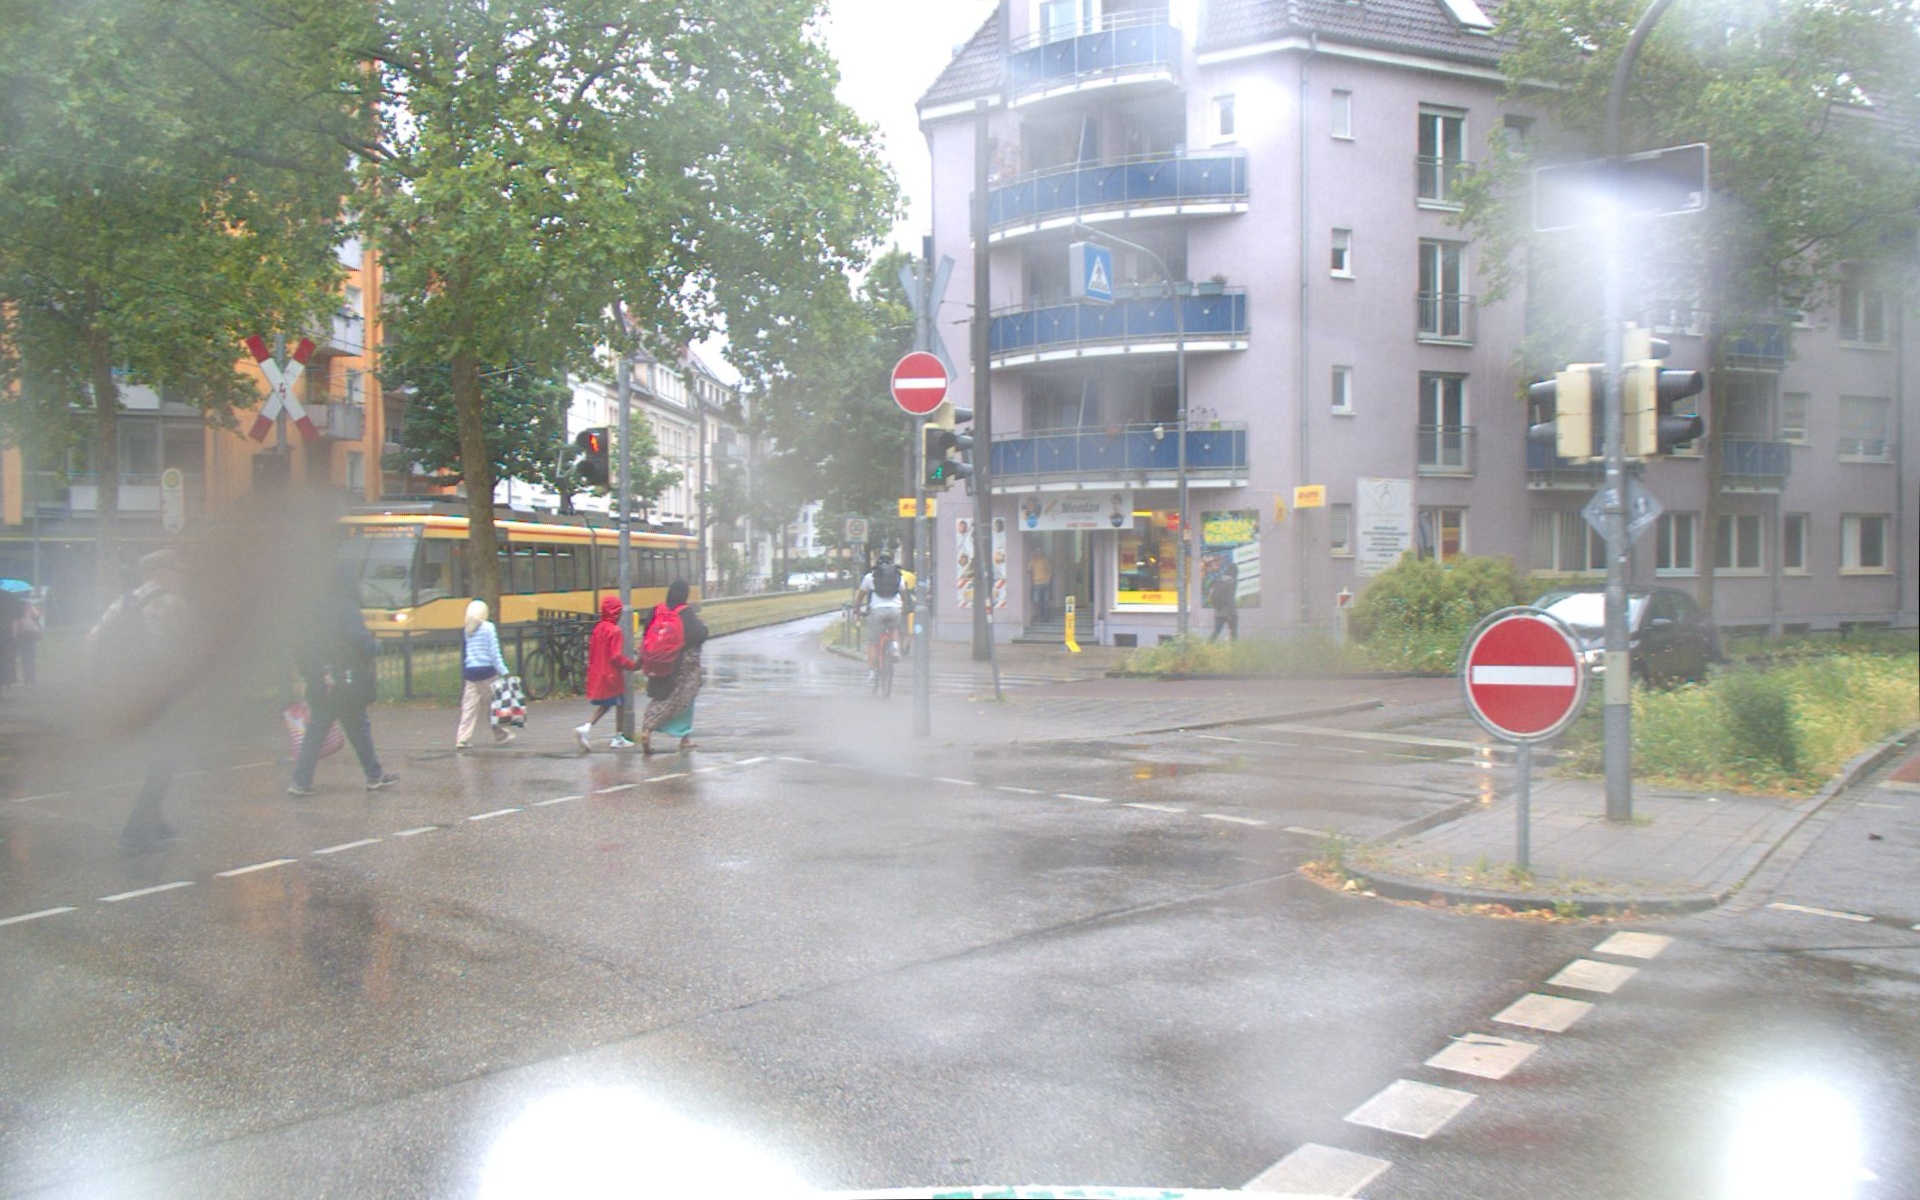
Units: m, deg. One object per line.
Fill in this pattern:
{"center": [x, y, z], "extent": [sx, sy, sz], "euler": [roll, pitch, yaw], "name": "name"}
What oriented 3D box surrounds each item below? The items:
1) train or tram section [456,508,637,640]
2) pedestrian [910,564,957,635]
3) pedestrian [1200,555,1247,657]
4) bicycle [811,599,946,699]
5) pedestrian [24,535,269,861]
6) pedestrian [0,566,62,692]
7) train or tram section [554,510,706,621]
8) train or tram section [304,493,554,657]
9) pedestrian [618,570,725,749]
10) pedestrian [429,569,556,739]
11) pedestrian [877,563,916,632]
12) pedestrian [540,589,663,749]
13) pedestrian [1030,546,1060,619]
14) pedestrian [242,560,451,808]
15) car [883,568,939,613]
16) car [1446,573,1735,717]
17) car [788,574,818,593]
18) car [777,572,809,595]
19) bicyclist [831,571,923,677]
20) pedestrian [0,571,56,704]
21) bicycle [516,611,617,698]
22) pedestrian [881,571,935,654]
{"center": [-11.528, -0.742, 47.016], "extent": [2.582, 3.409, 8.381], "euler": [0, 1, 4], "name": "train or tram section"}
{"center": [-0.689, -0.021, 42.571], "extent": [1.141, 1.819, 0.893], "euler": [0, 1, -7], "name": "pedestrian"}
{"center": [4.817, 0.101, 30.231], "extent": [0.630, 1.835, 0.619], "euler": [0, 2, 38], "name": "pedestrian"}
{"center": [-1.094, 0.615, 21.776], "extent": [0.745, 1.193, 2.013], "euler": [-2, 2, -38], "name": "bicycle"}
{"center": [-4.758, 0.529, 9.734], "extent": [0.792, 1.812, 0.995], "euler": [0, 2, 15], "name": "pedestrian"}
{"center": [-14.692, 0.429, 25.554], "extent": [1.164, 1.897, 1.364], "euler": [-1, 1, -42], "name": "pedestrian"}
{"center": [-10.985, -1.151, 56.165], "extent": [2.582, 3.409, 9.993], "euler": [0, 1, 4], "name": "train or tram section"}
{"center": [-12.104, -0.589, 38.676], "extent": [2.582, 3.428, 8.382], "euler": [0, 1, 4], "name": "train or tram section"}
{"center": [-2.628, 0.525, 15.126], "extent": [0.675, 1.574, 0.762], "euler": [0, 2, 16], "name": "pedestrian"}
{"center": [-4.448, 0.487, 15.808], "extent": [0.857, 1.552, 1.065], "euler": [0, 1, 2], "name": "pedestrian"}
{"center": [-1.627, -0.076, 42.443], "extent": [0.933, 1.726, 0.922], "euler": [0, 1, 2], "name": "pedestrian"}
{"center": [-3.318, 0.614, 15.367], "extent": [0.657, 1.405, 1.011], "euler": [0, 2, 19], "name": "pedestrian"}
{"center": [1.920, -0.406, 37.371], "extent": [0.462, 1.630, 0.593], "euler": [0, 1, 29], "name": "pedestrian"}
{"center": [-4.531, 0.575, 12.246], "extent": [0.975, 1.715, 1.053], "euler": [0, 2, 33], "name": "pedestrian"}
{"center": [-1.899, -0.406, 65.464], "extent": [1.952, 1.702, 4.002], "euler": [-1, 1, 2], "name": "car"}
{"center": [7.558, 0.439, 19.608], "extent": [1.958, 1.486, 4.155], "euler": [1, 2, 40], "name": "car"}
{"center": [-11.652, -1.244, 123.080], "extent": [1.953, 1.422, 4.000], "euler": [0, 1, -1], "name": "car"}
{"center": [-11.804, -1.169, 117.285], "extent": [1.953, 1.559, 4.000], "euler": [0, 1, -1], "name": "car"}
{"center": [-1.099, 0.299, 21.805], "extent": [0.735, 1.332, 1.062], "euler": [-2, 2, -38], "name": "bicyclist"}
{"center": [-13.589, 0.509, 23.250], "extent": [1.208, 1.820, 1.037], "euler": [0, 1, 26], "name": "pedestrian"}
{"center": [-5.331, 0.718, 22.474], "extent": [0.436, 1.095, 1.618], "euler": [0, 1, 24], "name": "bicycle"}
{"center": [-1.021, 0.238, 32.522], "extent": [0.971, 1.586, 0.784], "euler": [-1, 1, 3], "name": "pedestrian"}
